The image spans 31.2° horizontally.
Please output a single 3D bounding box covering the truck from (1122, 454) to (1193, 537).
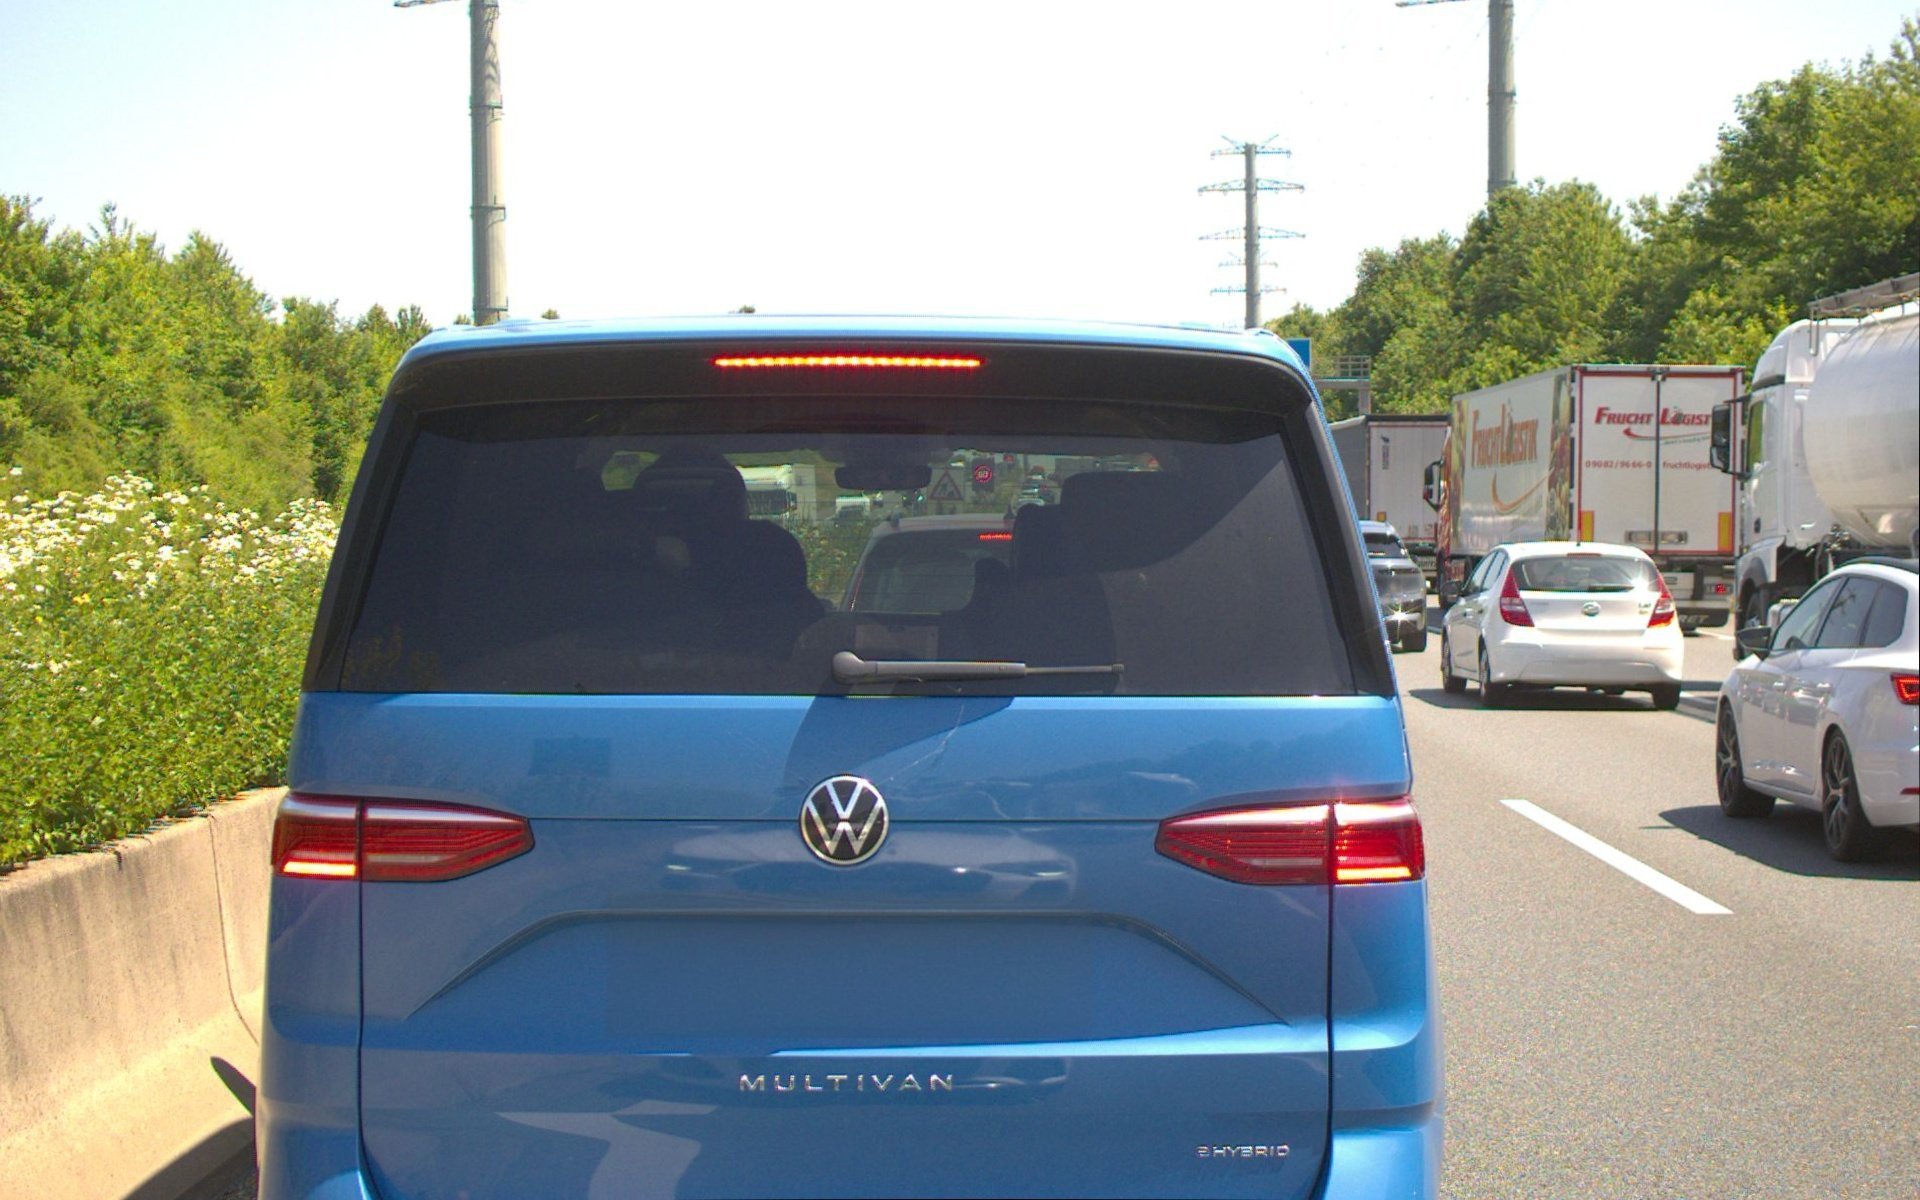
[{"bbox_3d":[11.278,-5.946,197.244,3.566,4.501,10.293,-1,1,1],"label":"truck"}]

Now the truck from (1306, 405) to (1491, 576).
[{"bbox_3d":[10.510,-2.521,84.075,3.006,3.753,15.712,-1,1,2],"label":"truck"}]

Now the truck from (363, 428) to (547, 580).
[{"bbox_3d":[-13.392,-2.543,92.315,2.912,3.806,11.944,1,1,1],"label":"truck"}]

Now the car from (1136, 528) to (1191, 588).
[{"bbox_3d":[7.115,-1.452,120.466,1.836,1.991,4.000,-2,0,3],"label":"car"}]

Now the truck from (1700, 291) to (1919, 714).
[{"bbox_3d":[9.317,-0.945,33.992,2.793,3.823,5.572,-1,1,1],"label":"truck"}]

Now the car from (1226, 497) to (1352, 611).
[{"bbox_3d":[5.920,-0.816,62.293,1.923,1.919,4.235,-2,0,1],"label":"car"}]

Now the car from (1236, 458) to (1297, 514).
[{"bbox_3d":[11.558,-4.276,129.825,1.993,2.007,4.000,-1,1,1],"label":"car"}]

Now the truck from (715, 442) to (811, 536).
[{"bbox_3d":[-8.369,-4.690,147.404,3.172,3.806,11.944,1,1,1],"label":"truck"}]

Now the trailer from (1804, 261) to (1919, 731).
[{"bbox_3d":[9.202,-0.837,26.268,2.761,3.831,11.486,-1,1,1],"label":"trailer"}]

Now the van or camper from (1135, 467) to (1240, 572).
[{"bbox_3d":[6.782,-2.384,103.369,2.957,3.011,7.102,-1,1,3],"label":"van or camper"}]

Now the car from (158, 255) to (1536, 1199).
[{"bbox_3d":[-0.123,0.422,6.814,1.920,1.880,4.000,1,1,1],"label":"car"}]

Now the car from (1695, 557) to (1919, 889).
[{"bbox_3d":[4.933,0.511,17.073,1.748,1.438,4.313,-1,0,2],"label":"car"}]

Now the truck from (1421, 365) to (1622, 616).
[{"bbox_3d":[10.412,-2.006,64.214,2.912,4.453,5.142,-1,1,1],"label":"truck"}]

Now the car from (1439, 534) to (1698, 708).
[{"bbox_3d":[5.561,0.172,31.852,1.817,1.480,4.000,-1,0,2],"label":"car"}]

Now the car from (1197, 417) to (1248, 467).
[{"bbox_3d":[11.553,-6.948,151.545,1.993,2.007,4.000,-1,1,1],"label":"car"}]

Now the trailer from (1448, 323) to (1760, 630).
[{"bbox_3d":[10.317,-1.911,56.552,2.912,4.453,12.154,-1,1,1],"label":"trailer"}]

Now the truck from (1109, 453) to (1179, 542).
[{"bbox_3d":[8.191,-4.497,153.698,2.895,3.753,10.140,-1,1,2],"label":"truck"}]

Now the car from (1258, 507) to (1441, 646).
[{"bbox_3d":[5.077,-0.302,45.356,1.999,1.709,4.625,-1,0,2],"label":"car"}]

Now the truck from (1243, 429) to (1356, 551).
[{"bbox_3d":[11.258,-3.564,115.120,2.895,3.753,13.344,-1,1,2],"label":"truck"}]

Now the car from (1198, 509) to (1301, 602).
[{"bbox_3d":[6.262,-0.952,74.831,1.923,1.919,4.235,-2,0,1],"label":"car"}]
